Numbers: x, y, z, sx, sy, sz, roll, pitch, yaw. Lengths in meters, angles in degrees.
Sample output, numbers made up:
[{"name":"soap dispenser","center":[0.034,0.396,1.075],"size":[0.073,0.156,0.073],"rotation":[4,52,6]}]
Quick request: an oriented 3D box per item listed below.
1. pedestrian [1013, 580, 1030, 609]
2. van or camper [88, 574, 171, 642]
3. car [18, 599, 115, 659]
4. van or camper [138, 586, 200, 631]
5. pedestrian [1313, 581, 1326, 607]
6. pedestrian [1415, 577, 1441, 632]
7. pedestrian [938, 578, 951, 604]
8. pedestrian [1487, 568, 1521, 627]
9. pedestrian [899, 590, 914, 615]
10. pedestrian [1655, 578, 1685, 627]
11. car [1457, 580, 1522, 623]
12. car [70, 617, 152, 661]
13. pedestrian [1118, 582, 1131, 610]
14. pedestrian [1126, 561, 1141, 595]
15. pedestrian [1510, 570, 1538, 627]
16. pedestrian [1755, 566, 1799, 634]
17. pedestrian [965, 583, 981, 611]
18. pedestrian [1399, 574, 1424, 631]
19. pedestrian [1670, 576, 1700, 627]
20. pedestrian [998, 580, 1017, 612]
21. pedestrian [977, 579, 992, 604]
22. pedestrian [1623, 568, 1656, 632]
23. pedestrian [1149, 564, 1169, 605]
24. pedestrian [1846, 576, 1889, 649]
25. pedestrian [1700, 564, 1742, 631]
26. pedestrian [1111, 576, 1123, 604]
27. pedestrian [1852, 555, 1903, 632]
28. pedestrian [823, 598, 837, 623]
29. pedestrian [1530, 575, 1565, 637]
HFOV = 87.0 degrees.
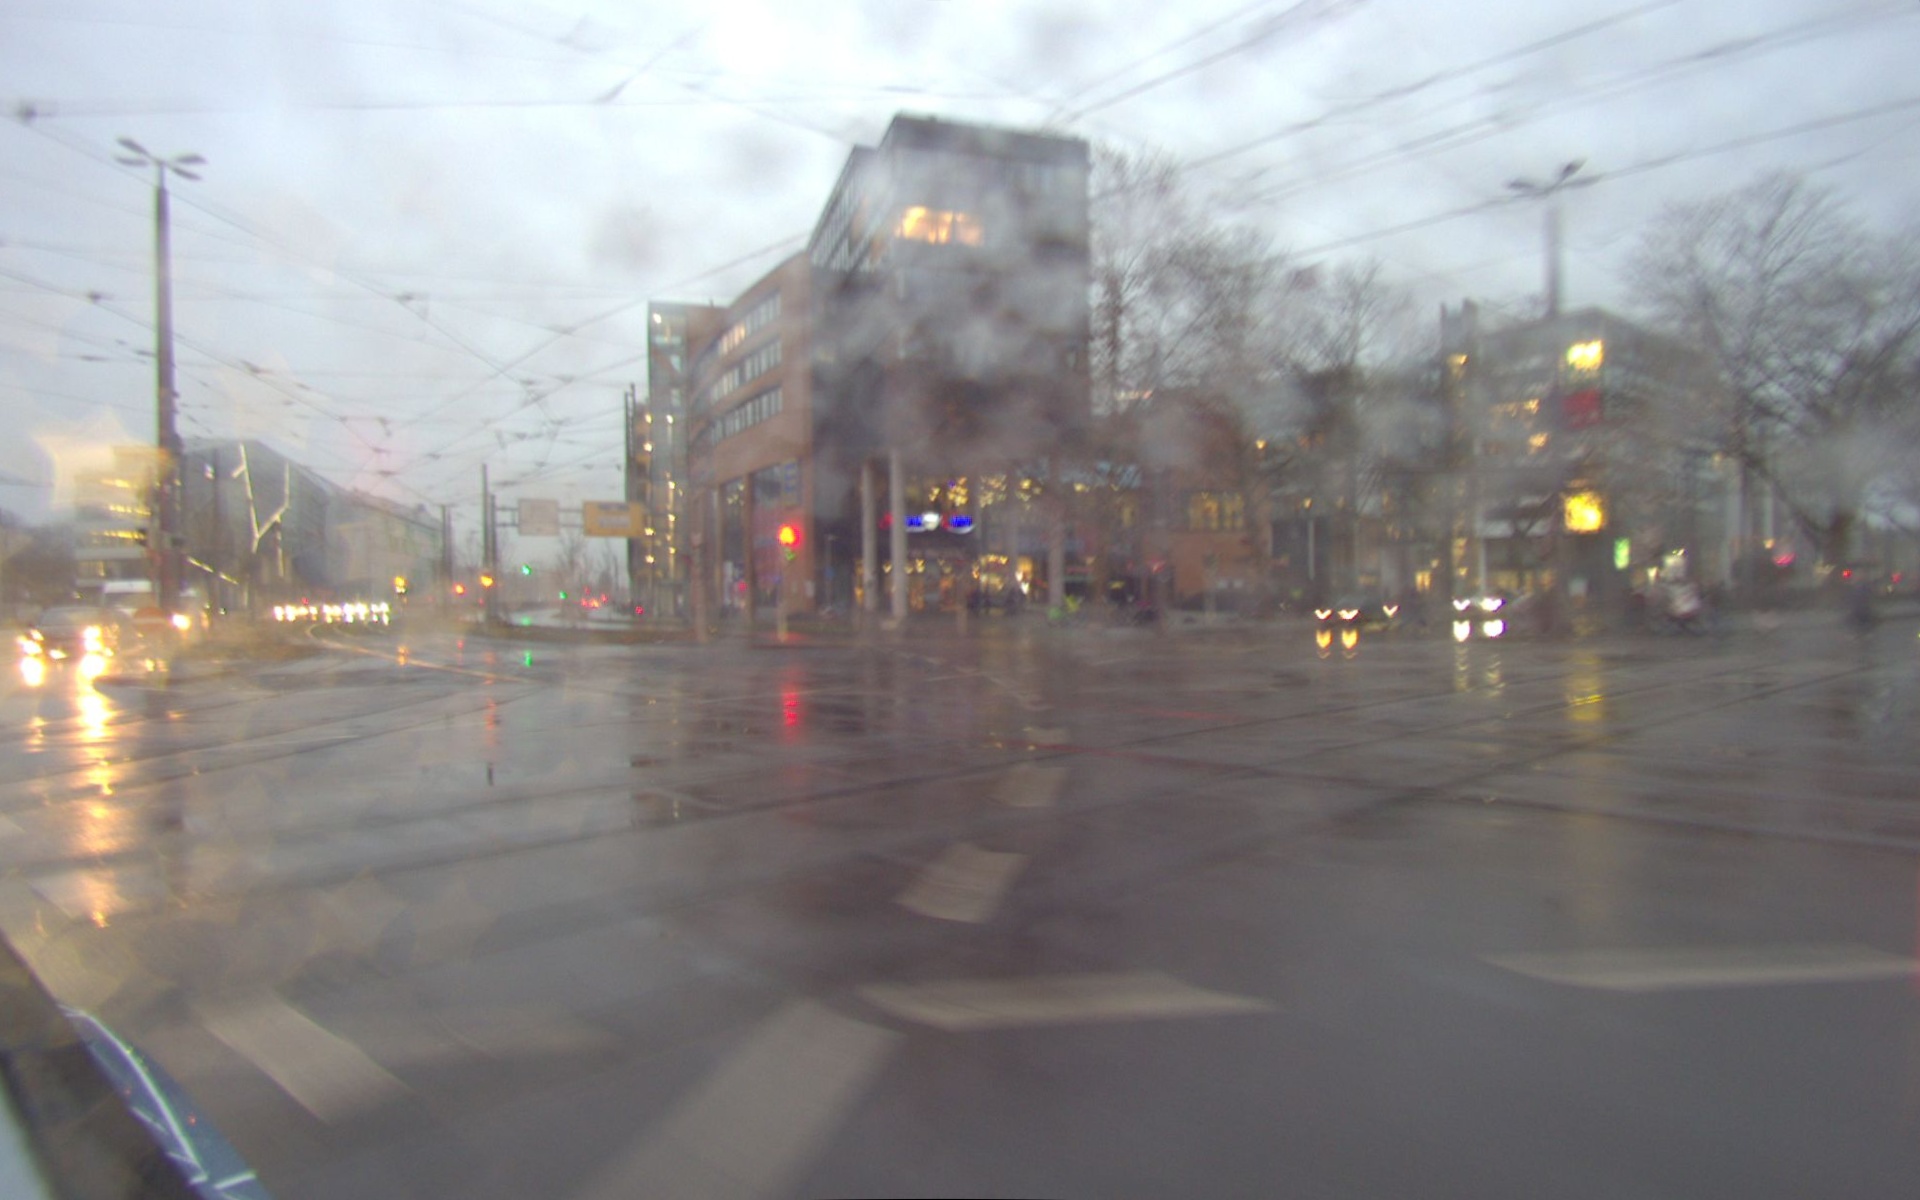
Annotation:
[{"name":"pedestrian","center":[3.751,-0.333,61.604],"size":[0.715,1.721,0.696],"rotation":[-1,0,-27]},{"name":"van or camper","center":[-34.503,0.291,42.183],"size":[2.028,2.567,5.900],"rotation":[-3,2,-34]},{"name":"car","center":[-25.805,0.791,29.339],"size":[1.658,1.584,3.770],"rotation":[-1,0,-35]},{"name":"van or camper","center":[-46.094,0.478,59.086],"size":[2.150,2.370,5.666],"rotation":[-3,1,-31]},{"name":"pedestrian","center":[23.461,-0.396,65.974],"size":[0.588,1.696,0.562],"rotation":[-1,0,-40]},{"name":"pedestrian","center":[17.490,0.163,37.864],"size":[0.700,2.029,0.775],"rotation":[-1,0,12]},{"name":"pedestrian","center":[-1.060,-0.603,68.740],"size":[0.682,1.721,0.929],"rotation":[-1,0,-16]},{"name":"pedestrian","center":[18.988,-0.082,35.329],"size":[0.695,2.029,0.762],"rotation":[-1,0,-20]},{"name":"pedestrian","center":[-3.267,0.153,61.751],"size":[0.641,1.514,0.696],"rotation":[-1,0,-27]},{"name":"pedestrian","center":[22.717,0.081,32.394],"size":[0.511,1.549,0.577],"rotation":[-1,0,-27]},{"name":"car","center":[27.882,0.065,53.267],"size":[4.017,2.153,1.922],"rotation":[-1,0,-44]},{"name":"car","center":[-30.084,1.344,35.973],"size":[1.796,1.342,4.236],"rotation":[-3,1,-35]},{"name":"pedestrian","center":[10.461,-0.259,64.378],"size":[0.643,1.764,0.447],"rotation":[-1,0,-36]},{"name":"pedestrian","center":[8.683,-1.102,50.590],"size":[0.593,1.696,0.558],"rotation":[-1,0,21]},{"name":"pedestrian","center":[19.810,-0.069,35.548],"size":[0.520,1.973,0.670],"rotation":[-1,0,-23]},{"name":"pedestrian","center":[24.852,-0.006,30.794],"size":[0.695,2.029,0.762],"rotation":[-1,0,-20]},{"name":"pedestrian","center":[0.781,-0.188,60.480],"size":[0.729,1.668,0.696],"rotation":[-1,0,-27]},{"name":"pedestrian","center":[16.276,0.074,36.490],"size":[0.756,2.029,0.700],"rotation":[-1,0,30]},{"name":"pedestrian","center":[22.505,0.054,31.413],"size":[0.511,1.549,0.577],"rotation":[-1,0,-27]},{"name":"pedestrian","center":[2.893,-0.238,61.285],"size":[0.762,1.859,0.925],"rotation":[-1,0,-25]},{"name":"pedestrian","center":[1.560,-0.538,64.301],"size":[0.641,1.514,0.696],"rotation":[-1,0,-27]},{"name":"pedestrian","center":[21.872,-0.019,32.599],"size":[0.747,2.029,0.708],"rotation":[-1,0,-42]},{"name":"pedestrian","center":[9.997,-0.785,50.822],"size":[0.756,2.029,0.700],"rotation":[-1,0,30]},{"name":"pedestrian","center":[25.560,0.341,28.507],"size":[0.696,2.029,0.761],"rotation":[-1,0,-36]},{"name":"pedestrian","center":[23.526,-0.087,31.275],"size":[0.695,2.029,0.762],"rotation":[-1,0,-20]},{"name":"pedestrian","center":[10.044,-0.620,64.720],"size":[0.643,1.764,0.447],"rotation":[-1,0,-36]},{"name":"pedestrian","center":[24.630,-0.173,27.174],"size":[0.695,2.029,0.762],"rotation":[-1,0,-20]},{"name":"pedestrian","center":[-6.600,0.530,51.288],"size":[0.439,1.274,0.497],"rotation":[-3,2,-40]},{"name":"pedestrian","center":[19.598,0.192,33.773],"size":[0.695,2.029,0.761],"rotation":[-1,0,-34]}]
